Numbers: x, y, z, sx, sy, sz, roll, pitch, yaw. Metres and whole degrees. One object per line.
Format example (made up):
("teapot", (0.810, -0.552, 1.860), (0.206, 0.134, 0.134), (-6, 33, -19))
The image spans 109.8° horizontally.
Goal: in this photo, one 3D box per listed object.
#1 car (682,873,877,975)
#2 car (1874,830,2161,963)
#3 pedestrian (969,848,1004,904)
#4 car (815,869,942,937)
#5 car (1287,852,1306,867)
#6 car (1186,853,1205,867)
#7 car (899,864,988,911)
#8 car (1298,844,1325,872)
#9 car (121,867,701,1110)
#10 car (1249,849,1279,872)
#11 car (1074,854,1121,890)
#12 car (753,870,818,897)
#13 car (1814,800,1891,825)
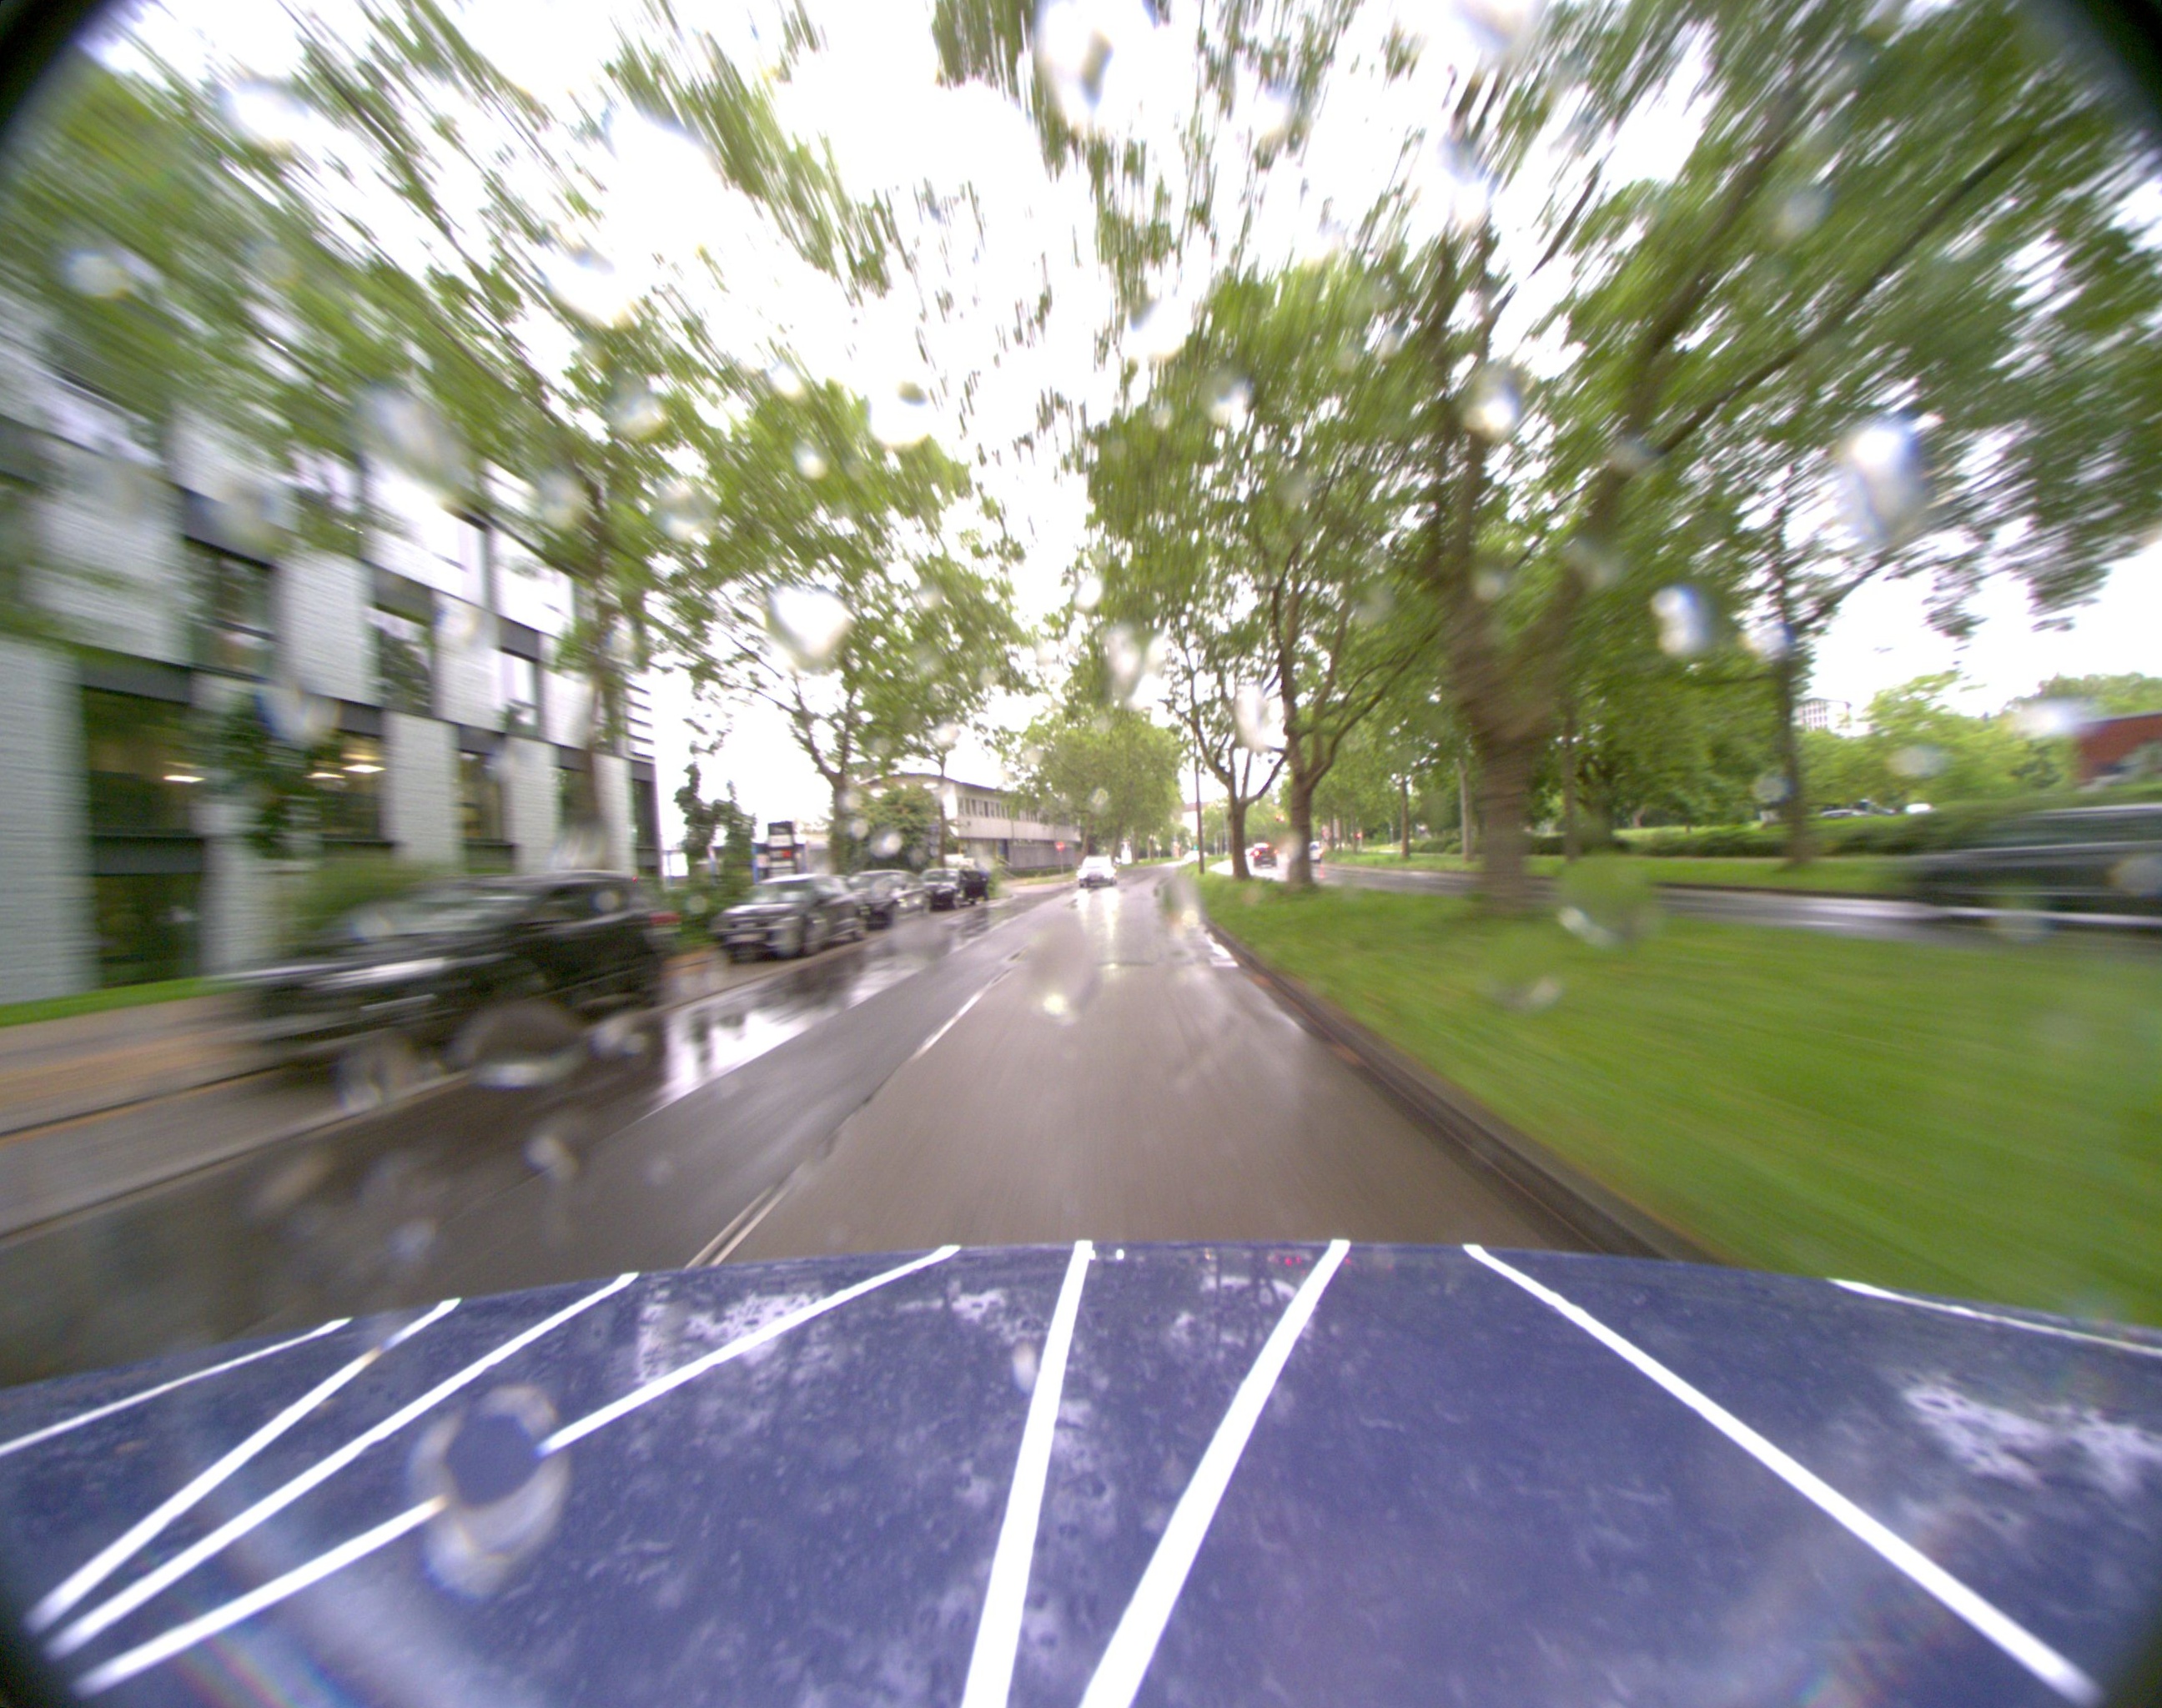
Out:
("car", (-5.511, 1.205, 14.539), (1.747, 1.467, 4.084), (-3, 0, 5))
("car", (13.867, 0.493, 10.232), (1.748, 1.552, 4.368), (-3, 0, 0))
("pedestrian", (-3.545, 0.810, 28.449), (0.901, 2.002, 0.831), (-3, 1, -32))
("car", (-5.303, 1.230, 20.730), (1.747, 1.420, 5.105), (-3, 0, 3))
("car", (27.177, 0.720, 95.875), (1.996, 1.622, 4.335), (-4, 0, 14))
("car", (14.906, 0.721, 98.574), (1.997, 1.620, 4.525), (-4, 0, 13))
("car", (-4.797, 1.123, 27.268), (1.747, 1.420, 4.862), (-1, 0, 7))
("car", (20.620, 0.320, 68.187), (2.033, 2.213, 5.440), (-3, 0, 15))
("car", (-5.875, 1.006, 7.601), (1.747, 1.557, 4.372), (-3, 0, 2))
("car", (15.726, 0.523, 65.114), (2.032, 1.726, 4.960), (-3, 0, 18))
("car", (0.946, 0.895, 40.291), (1.998, 1.585, 5.591), (-4, 0, 5))
("car", (-22.661, 2.248, 58.349), (1.889, 1.522, 4.183), (-3, 4, 35))
("car", (78.769, -4.226, 77.665), (2.003, 2.161, 5.402), (-4, 1, -43))
